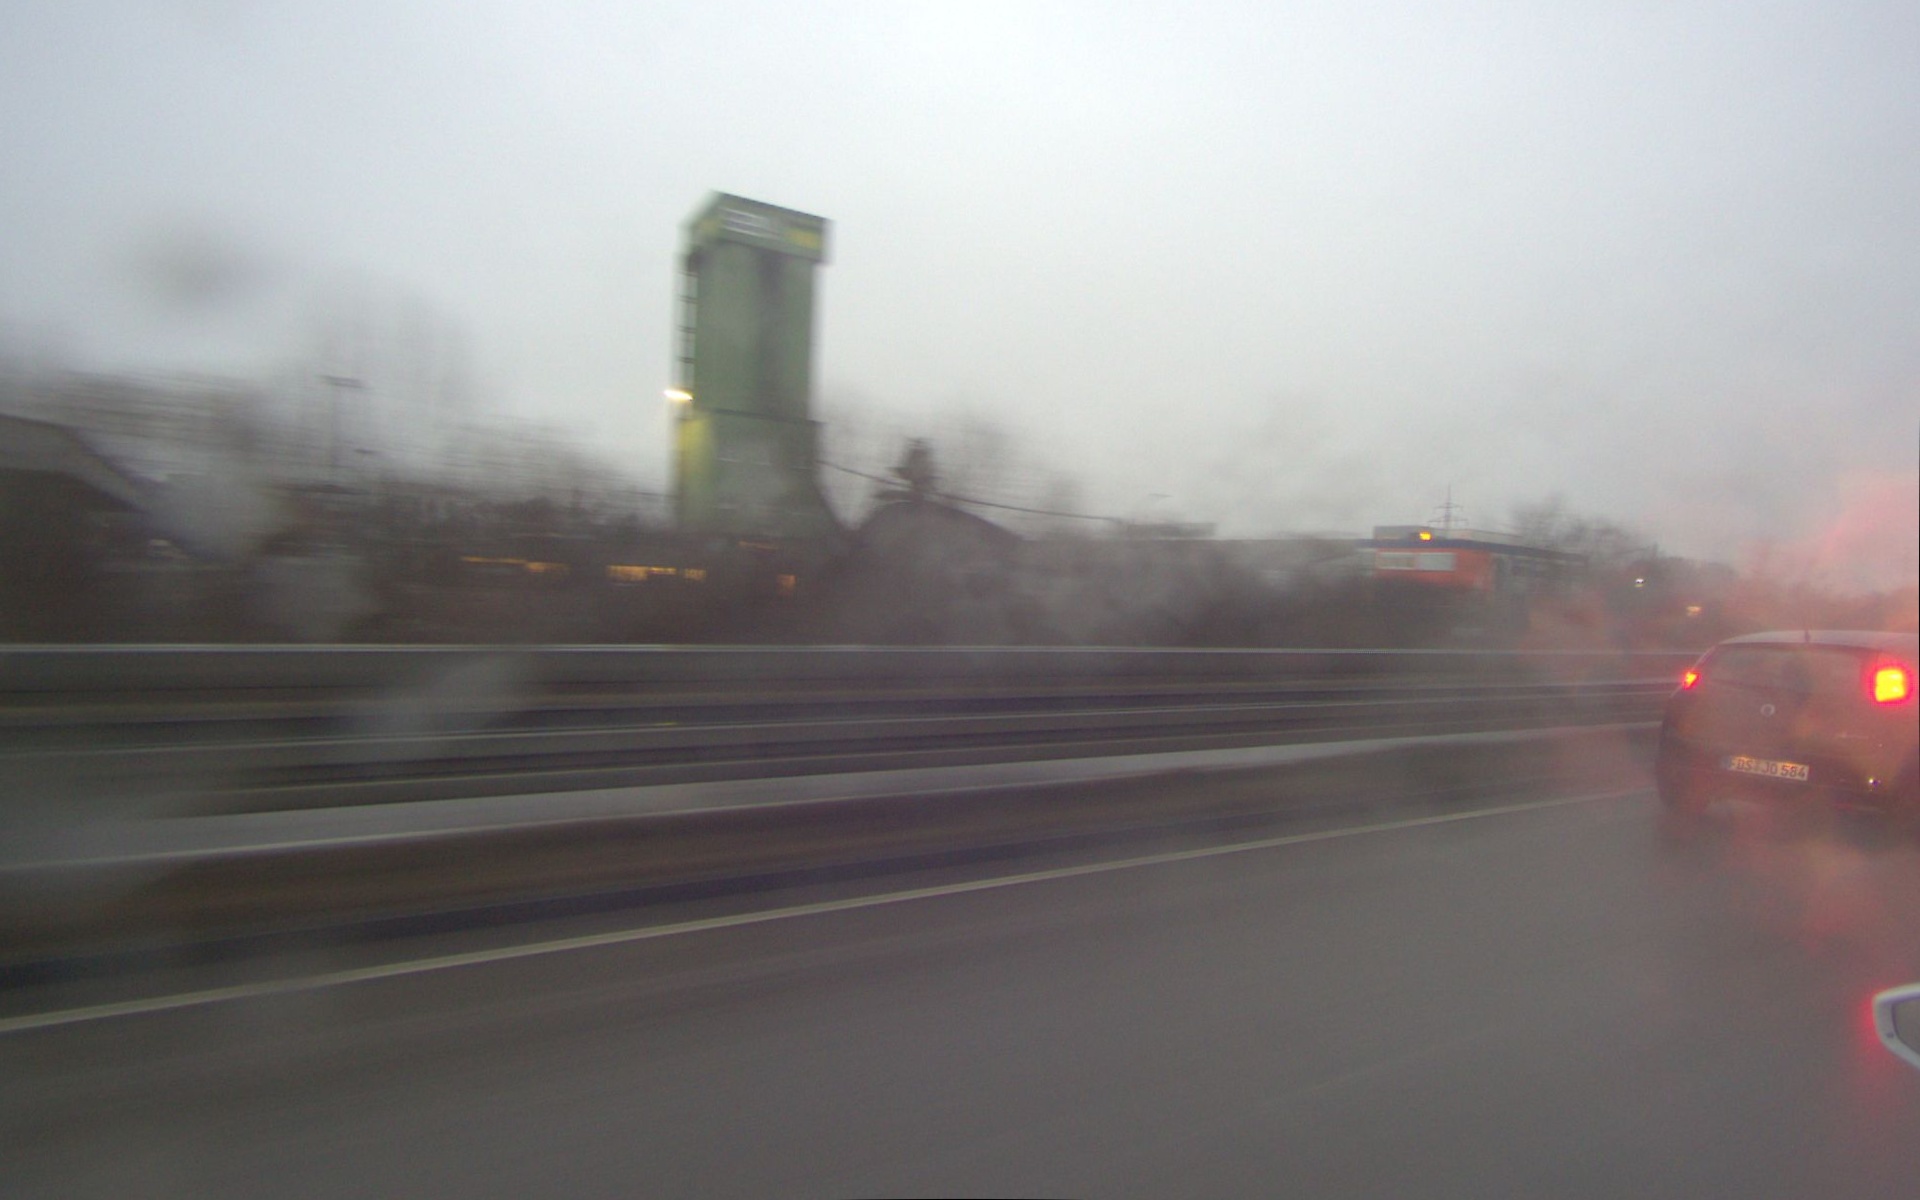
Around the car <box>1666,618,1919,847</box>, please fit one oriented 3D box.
[{"bbox_3d":[7.586,0.946,8.111,3.955,1.410,1.617,2,1,-32],"label":"car"}]

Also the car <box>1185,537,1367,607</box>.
[{"bbox_3d":[16.605,-1.339,52.507,9.816,3.253,3.179,1,-1,-29],"label":"car"}]
